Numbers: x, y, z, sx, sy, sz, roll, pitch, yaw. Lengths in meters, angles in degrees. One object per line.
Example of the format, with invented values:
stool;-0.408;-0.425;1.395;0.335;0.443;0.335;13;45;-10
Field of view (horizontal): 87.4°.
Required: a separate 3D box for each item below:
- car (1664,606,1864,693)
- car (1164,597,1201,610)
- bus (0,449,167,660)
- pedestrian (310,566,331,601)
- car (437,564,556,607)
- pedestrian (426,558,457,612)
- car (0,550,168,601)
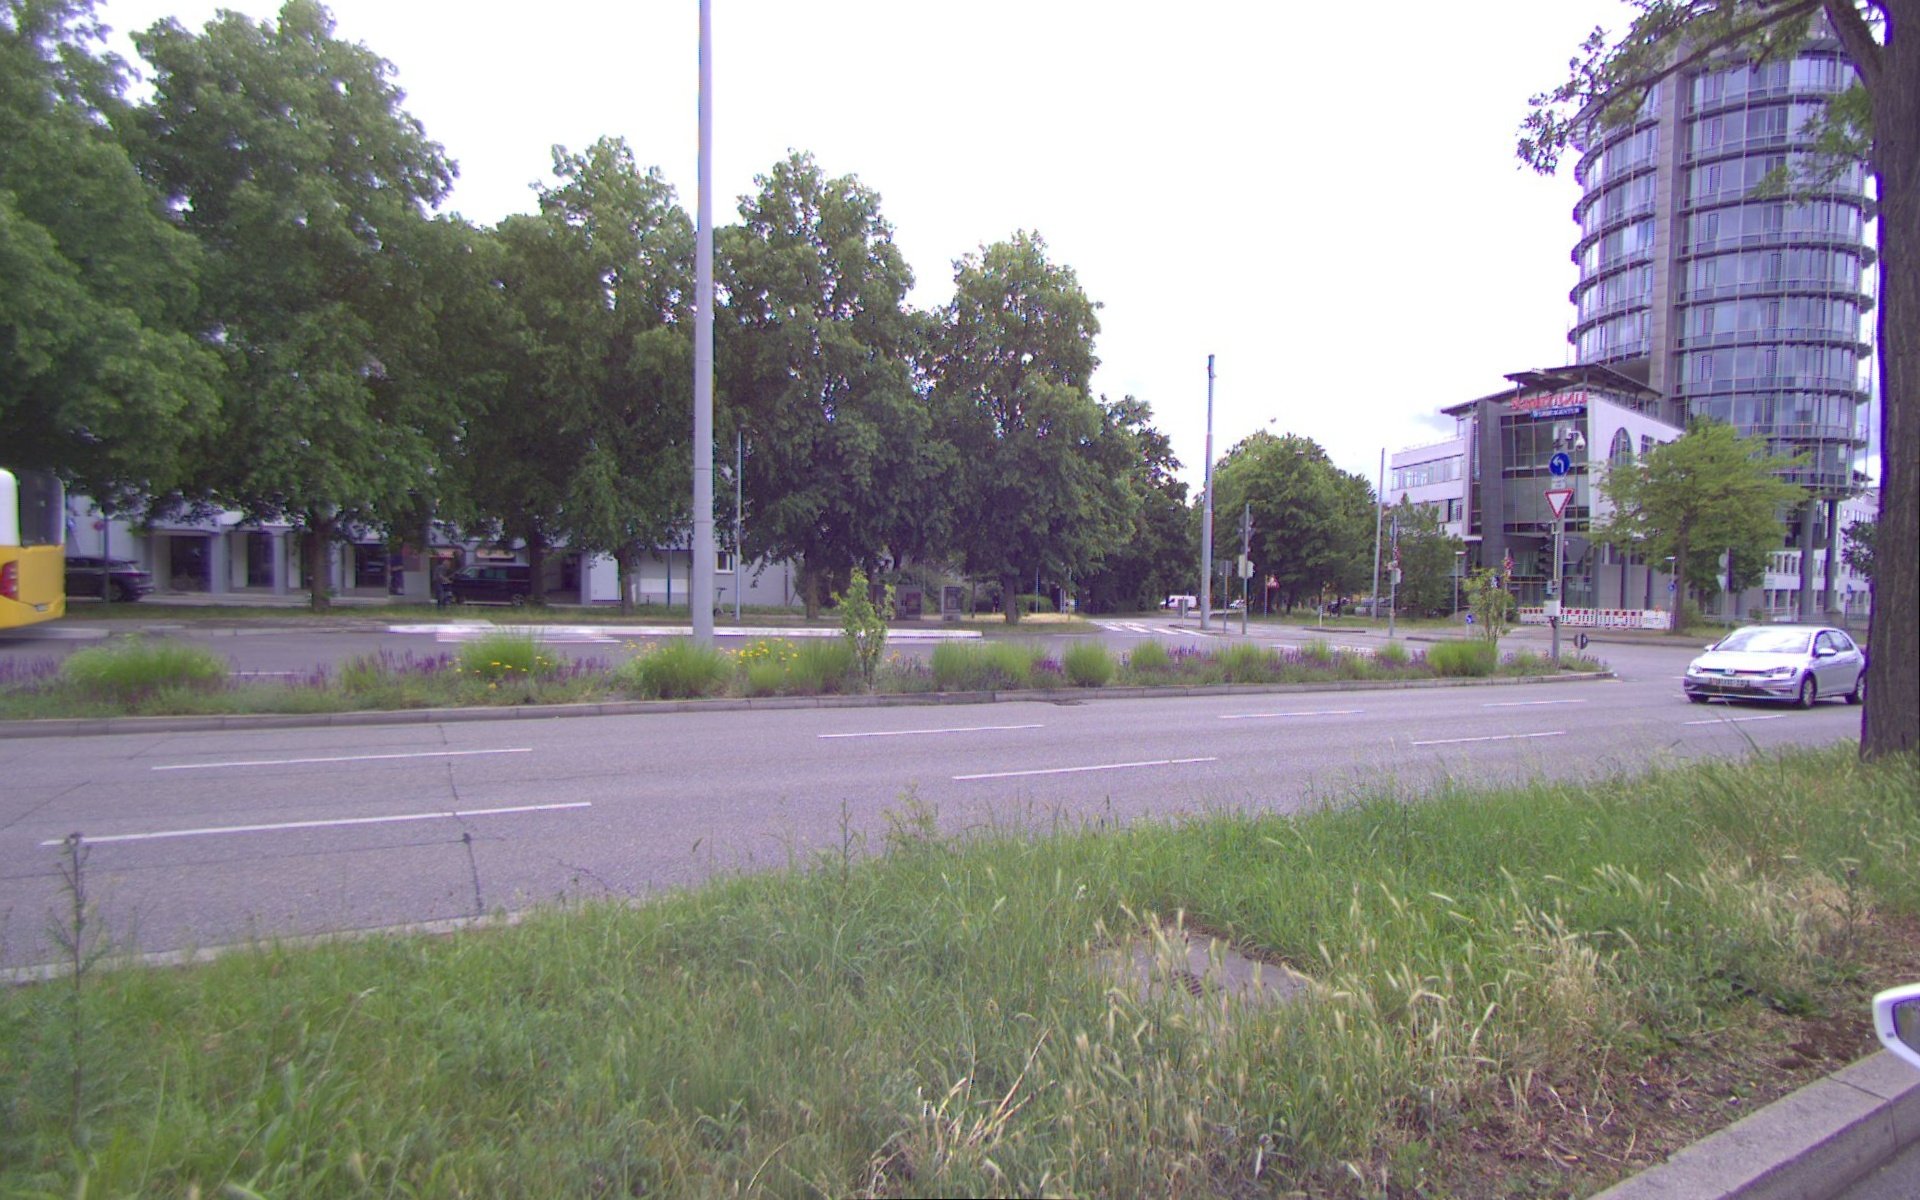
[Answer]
car;15.033;0.873;18.736;4.090;1.463;1.743;1;-1;-33
car;38.880;0.603;175.447;5.881;2.040;1.995;1;1;-13
bus;-19.608;-0.887;16.555;9.779;3.502;3.021;1;2;-26
pedestrian;-29.001;-0.730;45.559;0.658;1.568;0.656;1;1;-22
car;-21.706;-0.676;47.251;4.736;1.857;1.994;1;1;-15
pedestrian;-16.808;-0.490;32.567;0.847;1.711;0.453;1;1;-30
car;-30.204;-0.814;34.597;4.191;1.602;1.987;1;1;-26
